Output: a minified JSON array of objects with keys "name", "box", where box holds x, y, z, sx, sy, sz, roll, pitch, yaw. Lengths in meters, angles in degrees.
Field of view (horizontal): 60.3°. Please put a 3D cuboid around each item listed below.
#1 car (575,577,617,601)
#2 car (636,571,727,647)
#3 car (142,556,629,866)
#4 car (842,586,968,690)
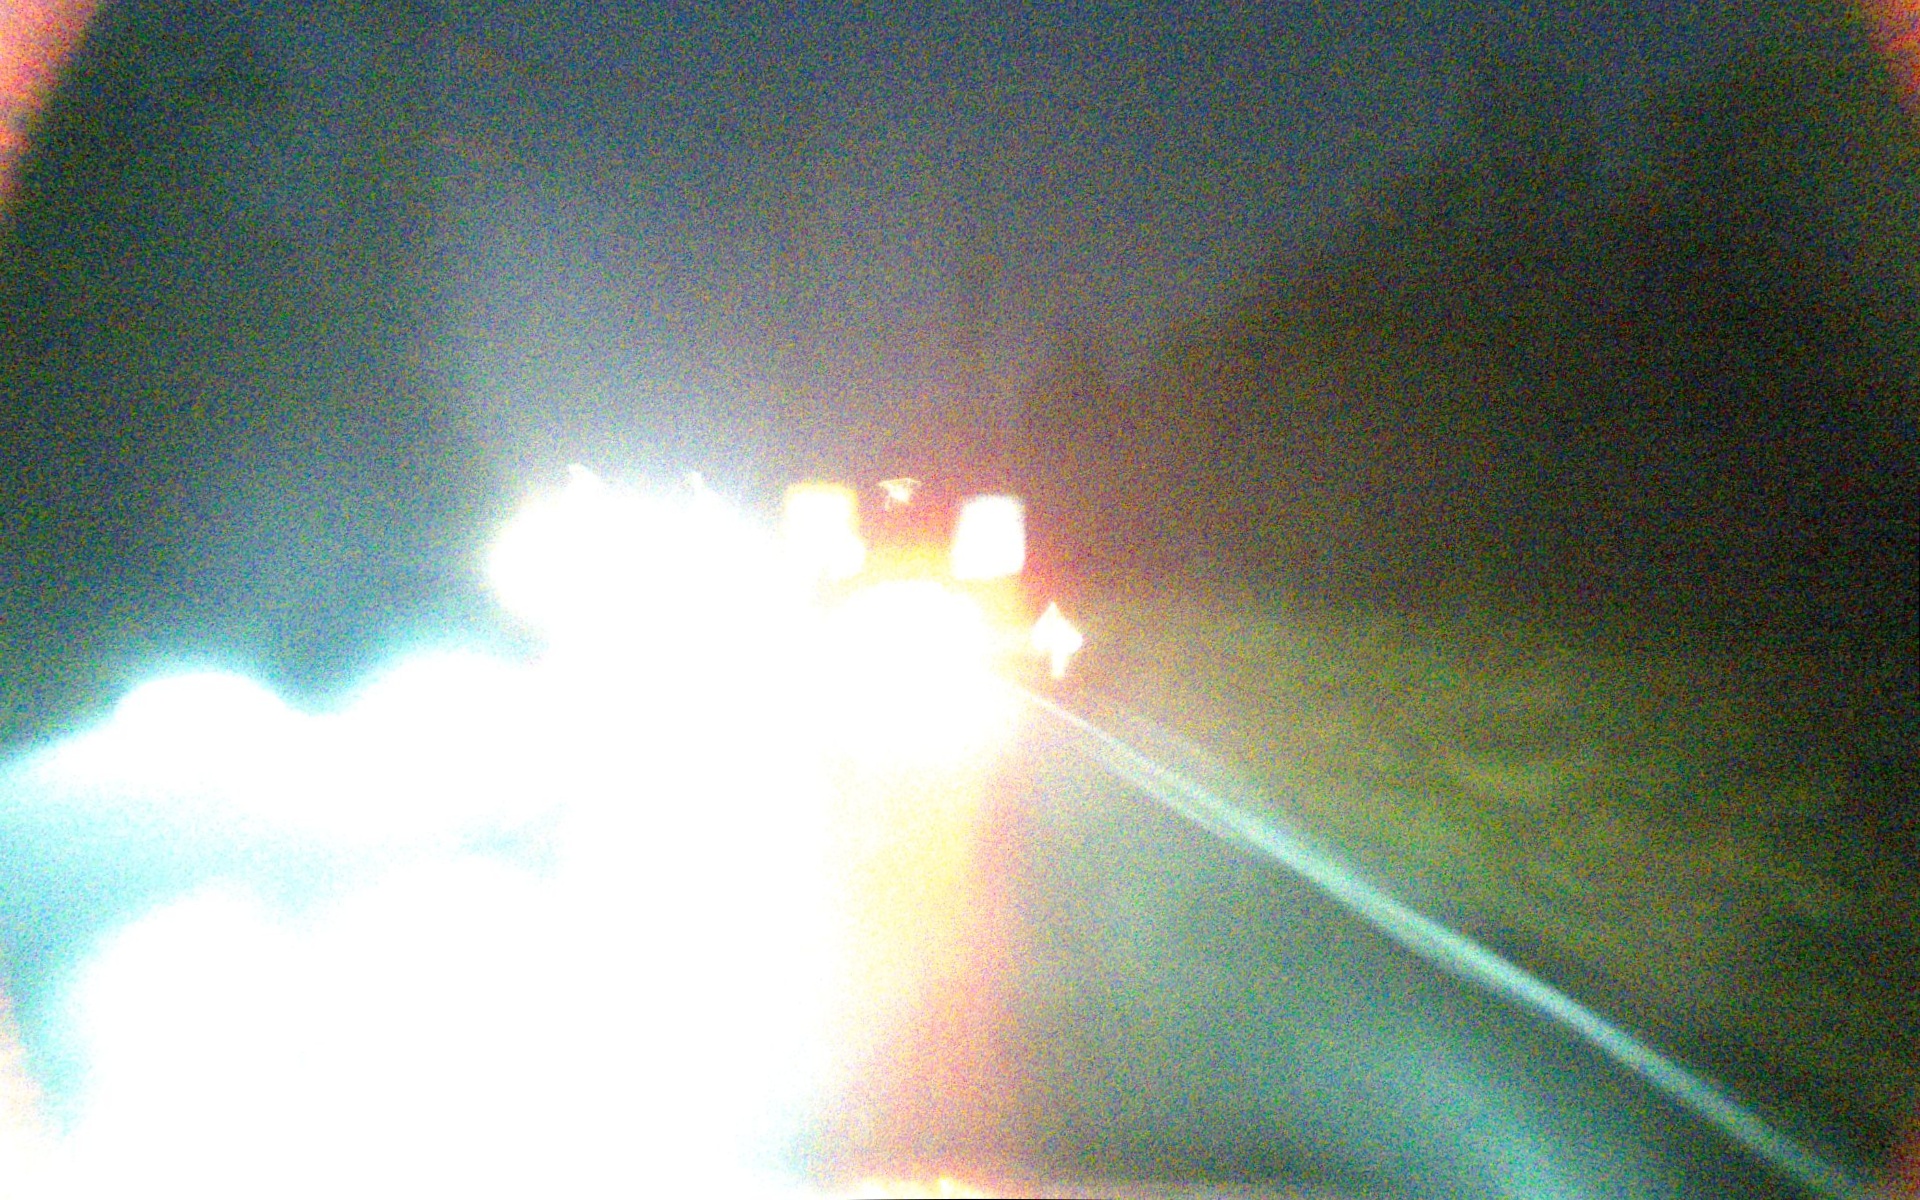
[{"name":"car","box":[-23.716,-0.741,107.811,1.749,1.509,4.345,0,1,-25]},{"name":"car","box":[-6.956,0.203,41.772,1.955,1.738,4.977,-2,0,-6]},{"name":"car","box":[-3.597,0.583,11.438,1.892,1.612,4.980,-2,0,-4]},{"name":"car","box":[-1.079,0.609,29.764,1.955,1.656,4.979,1,1,-5]}]
